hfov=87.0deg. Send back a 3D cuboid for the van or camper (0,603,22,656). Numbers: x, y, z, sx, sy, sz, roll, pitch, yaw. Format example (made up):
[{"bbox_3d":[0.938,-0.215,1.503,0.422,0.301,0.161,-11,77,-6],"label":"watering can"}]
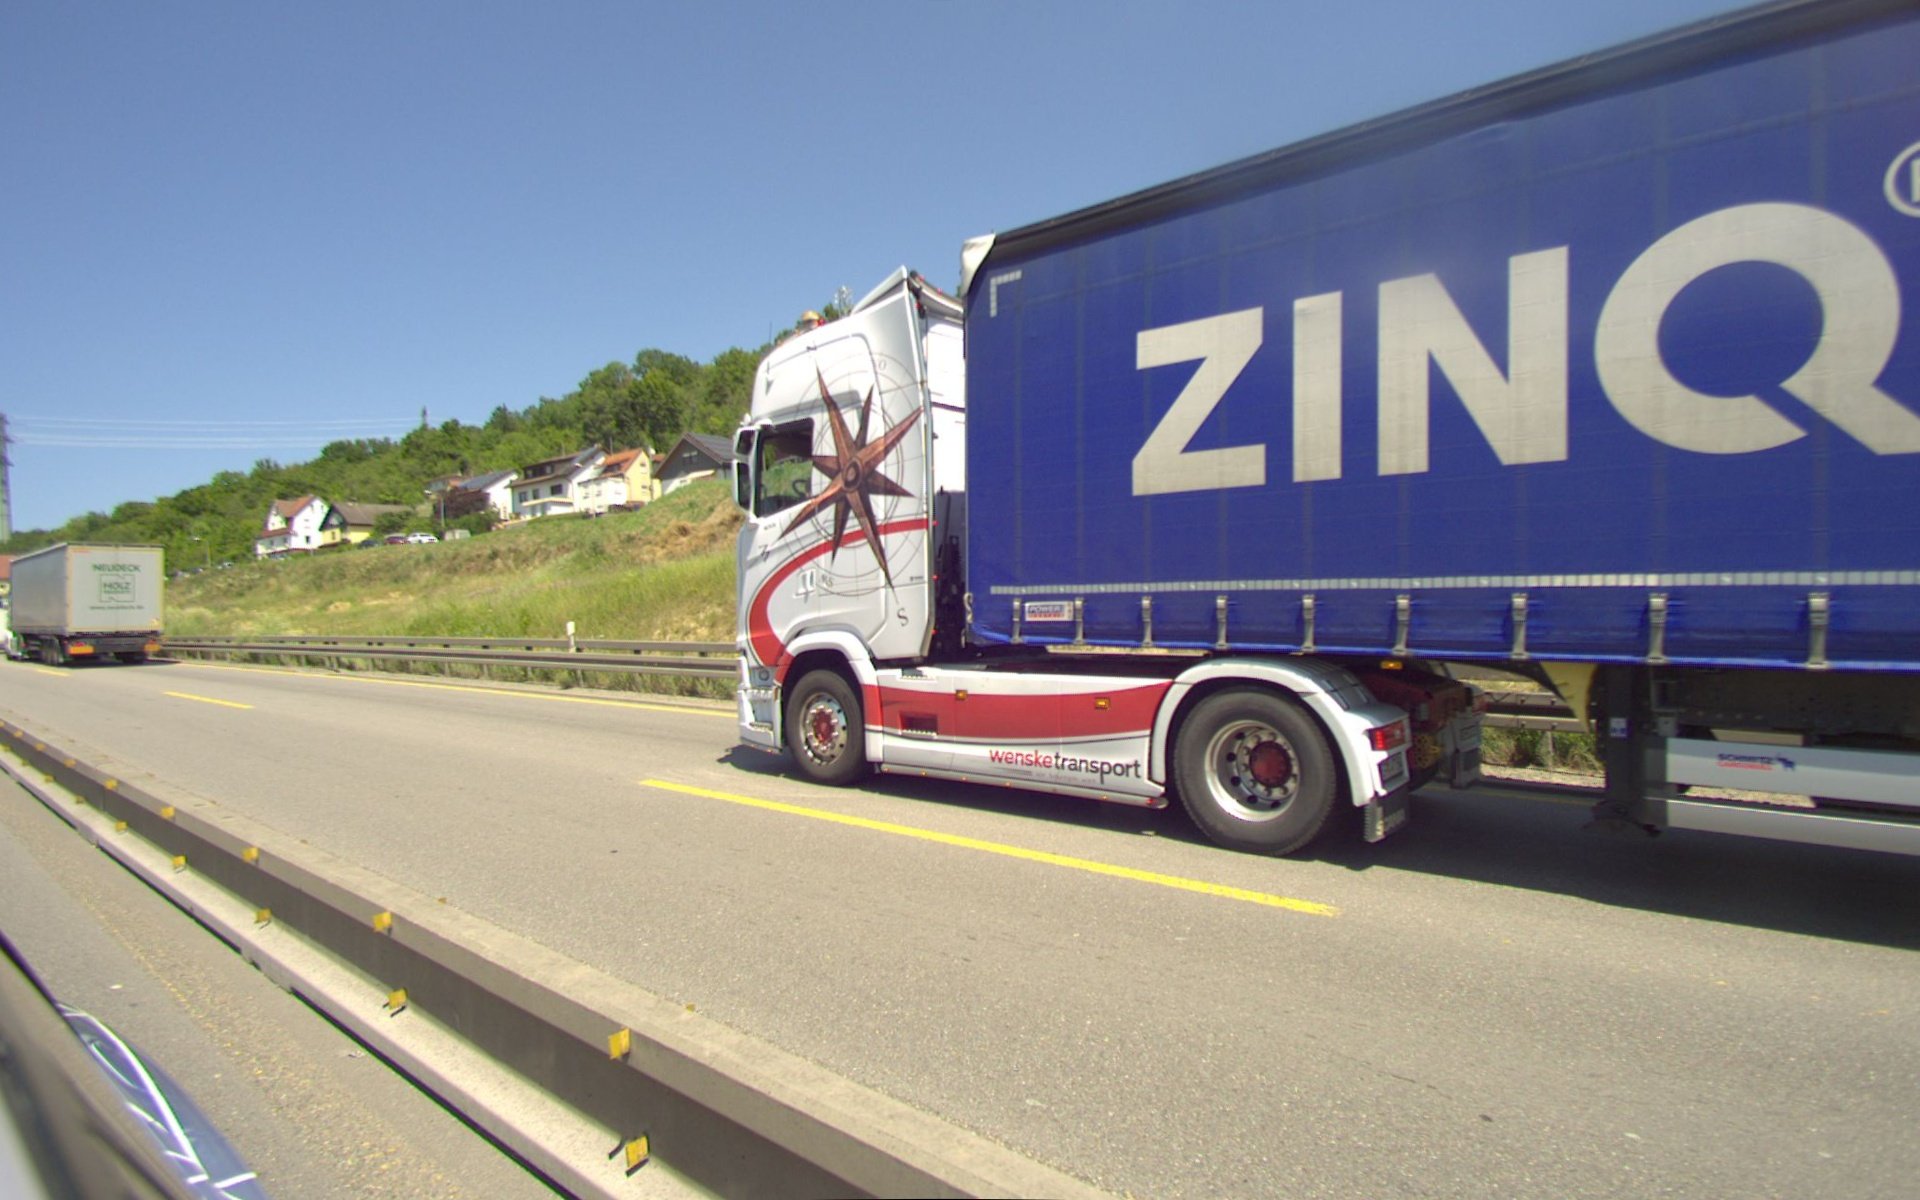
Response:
[{"bbox_3d":[-54.237,1.681,56.213,7.512,2.798,2.310,-2,-1,41],"label":"van or camper"}]

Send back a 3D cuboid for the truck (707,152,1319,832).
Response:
[{"bbox_3d":[0.407,-0.640,8.853,4.244,4.191,3.206,-1,-1,41],"label":"truck"}]

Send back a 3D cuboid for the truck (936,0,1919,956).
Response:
[{"bbox_3d":[6.161,-0.768,3.869,13.970,4.191,3.210,-1,-1,41],"label":"truck"}]

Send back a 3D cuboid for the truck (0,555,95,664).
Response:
[{"bbox_3d":[-38.781,0.405,42.700,4.673,4.319,2.746,-2,-1,41],"label":"truck"}]

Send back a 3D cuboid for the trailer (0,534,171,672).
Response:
[{"bbox_3d":[-32.626,0.240,37.389,14.025,4.319,2.782,-2,-1,41],"label":"trailer"}]
